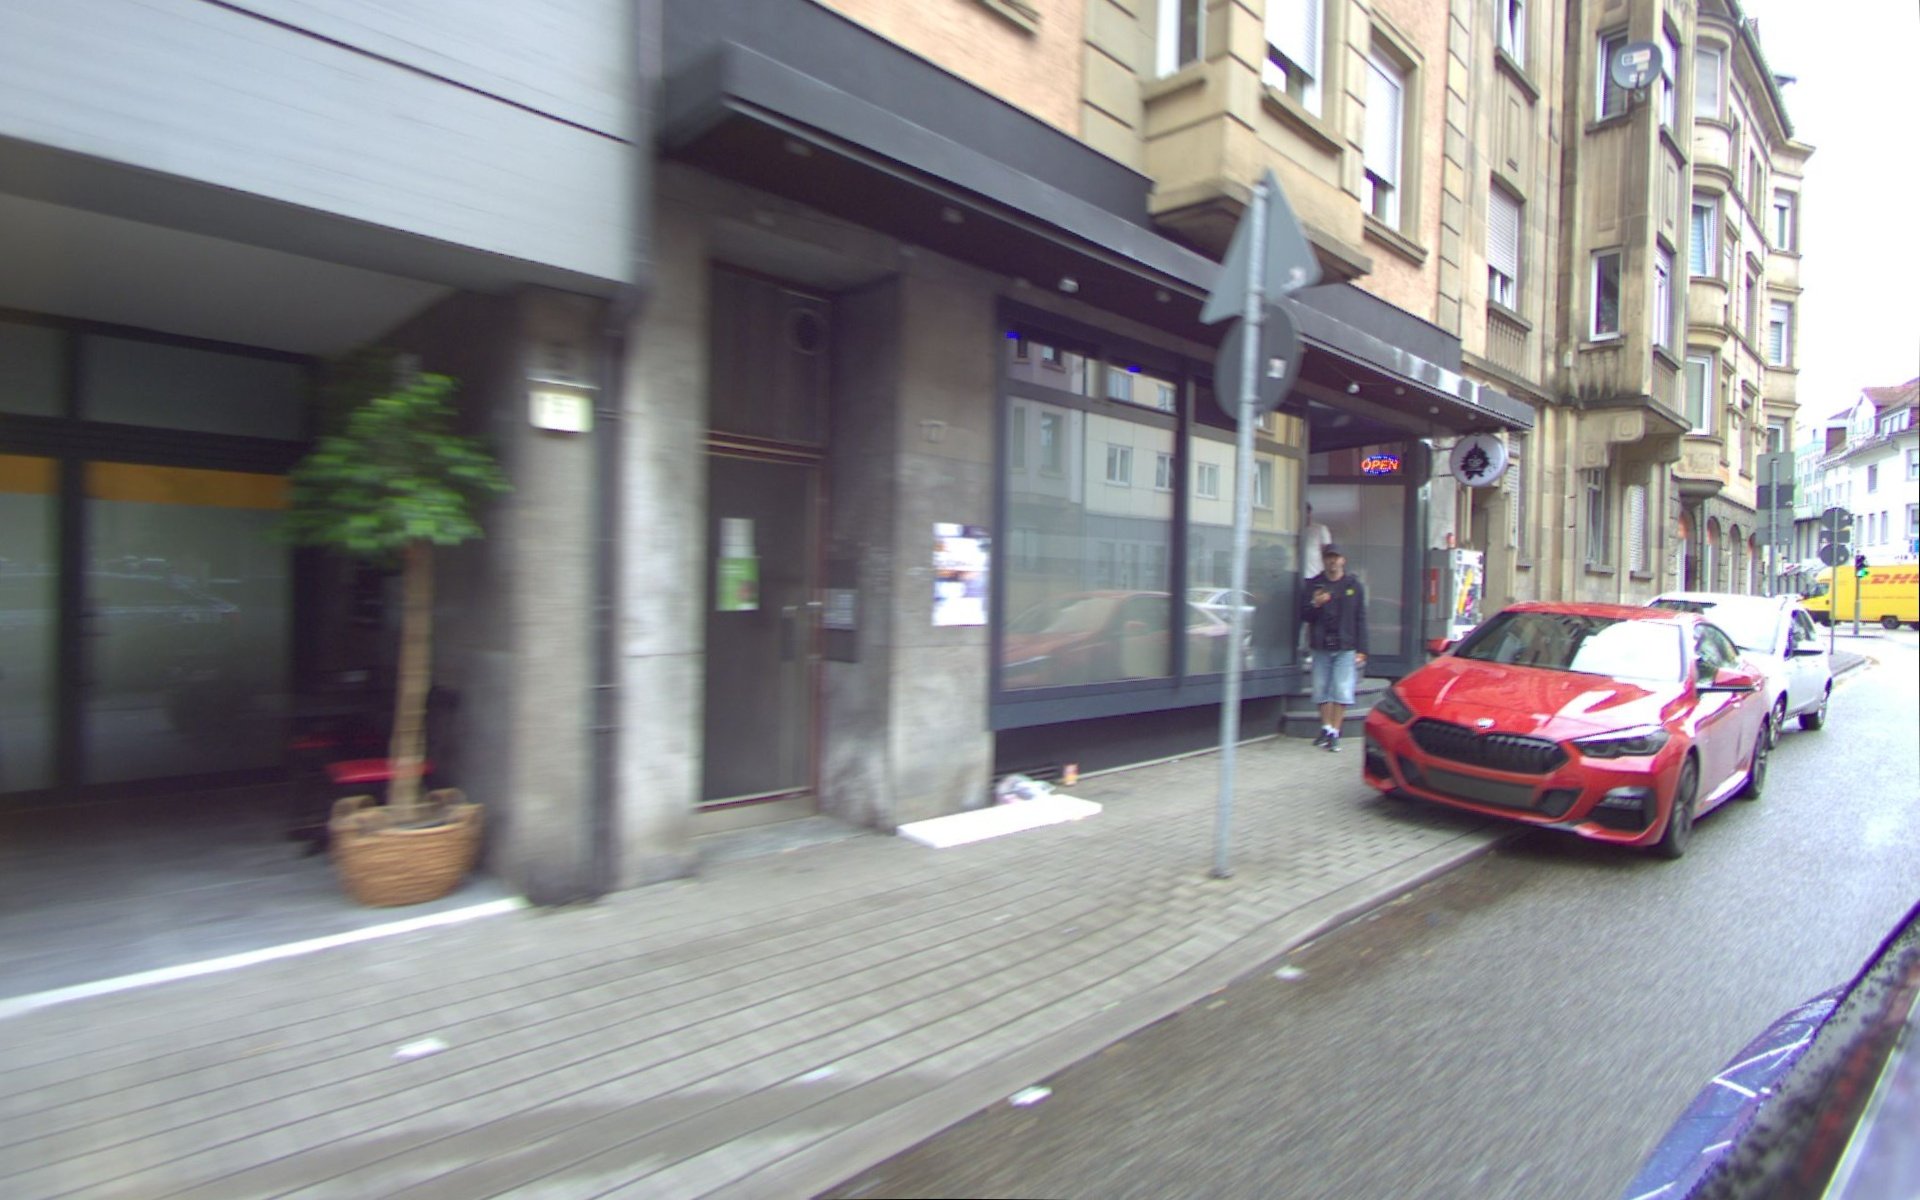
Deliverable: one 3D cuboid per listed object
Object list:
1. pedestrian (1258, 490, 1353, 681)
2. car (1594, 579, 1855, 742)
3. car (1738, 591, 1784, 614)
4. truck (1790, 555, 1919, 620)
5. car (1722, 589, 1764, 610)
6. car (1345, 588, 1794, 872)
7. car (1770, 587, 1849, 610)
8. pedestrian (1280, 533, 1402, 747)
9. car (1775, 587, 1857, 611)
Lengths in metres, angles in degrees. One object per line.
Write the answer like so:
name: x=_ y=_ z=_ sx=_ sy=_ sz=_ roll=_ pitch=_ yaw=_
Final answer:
pedestrian: x=3.621 y=-0.162 z=10.608 sx=0.703 sy=1.917 sz=0.639 roll=2 pitch=2 yaw=44
car: x=8.954 y=0.538 z=11.703 sx=4.373 sy=1.512 sz=1.650 roll=-1 pitch=2 yaw=-43
car: x=63.099 y=0.210 z=79.783 sx=1.980 sy=1.605 sz=3.964 roll=-4 pitch=-1 yaw=27
truck: x=41.951 y=-0.587 z=45.633 sx=2.188 sy=2.784 sz=7.040 roll=1 pitch=2 yaw=-13
car: x=65.691 y=-0.042 z=84.941 sx=1.981 sy=1.604 sz=3.964 roll=2 pitch=2 yaw=27
car: x=4.547 y=0.657 z=7.233 sx=4.244 sy=1.386 sz=1.745 roll=0 pitch=2 yaw=-45
car: x=61.686 y=-0.140 z=73.544 sx=3.959 sy=1.526 sz=1.983 roll=2 pitch=2 yaw=26
pedestrian: x=3.411 y=0.323 z=9.054 sx=0.744 sy=1.801 sz=0.783 roll=2 pitch=2 yaw=44
car: x=60.301 y=-0.092 z=71.403 sx=3.959 sy=1.526 sz=1.983 roll=2 pitch=2 yaw=26
